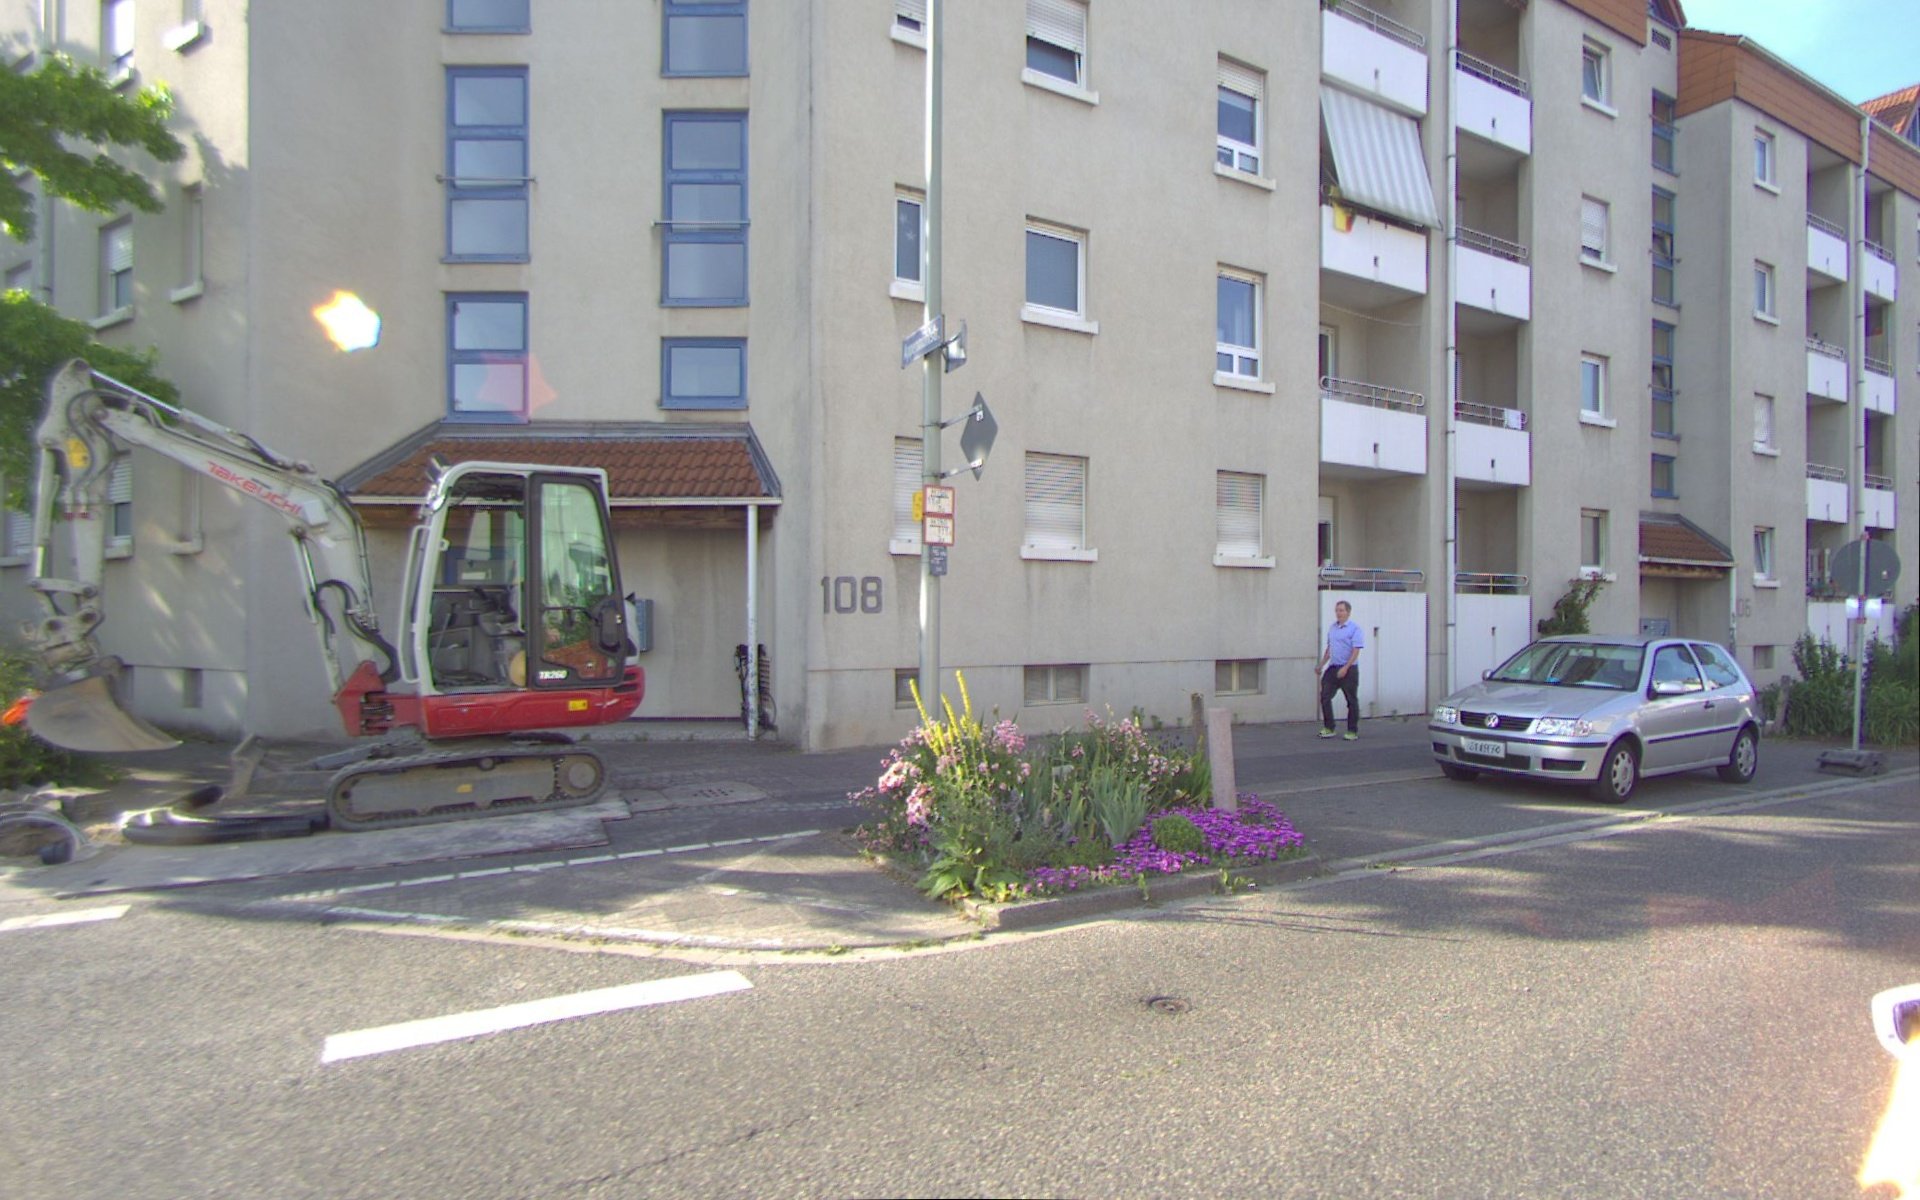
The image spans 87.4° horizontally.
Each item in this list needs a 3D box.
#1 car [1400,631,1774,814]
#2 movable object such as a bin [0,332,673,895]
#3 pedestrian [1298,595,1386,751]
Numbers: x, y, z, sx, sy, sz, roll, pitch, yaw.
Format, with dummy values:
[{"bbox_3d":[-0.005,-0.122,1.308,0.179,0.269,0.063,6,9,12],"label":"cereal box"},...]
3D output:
[{"bbox_3d":[6.085,1.026,9.677,3.630,1.414,1.632,1,-1,-32],"label":"car"},{"bbox_3d":[-4.255,0.097,7.356,3.856,3.180,1.639,0,-1,-32],"label":"movable object such as a bin"},{"bbox_3d":[4.706,0.872,12.402,0.736,1.843,0.715,0,0,-29],"label":"pedestrian"}]
